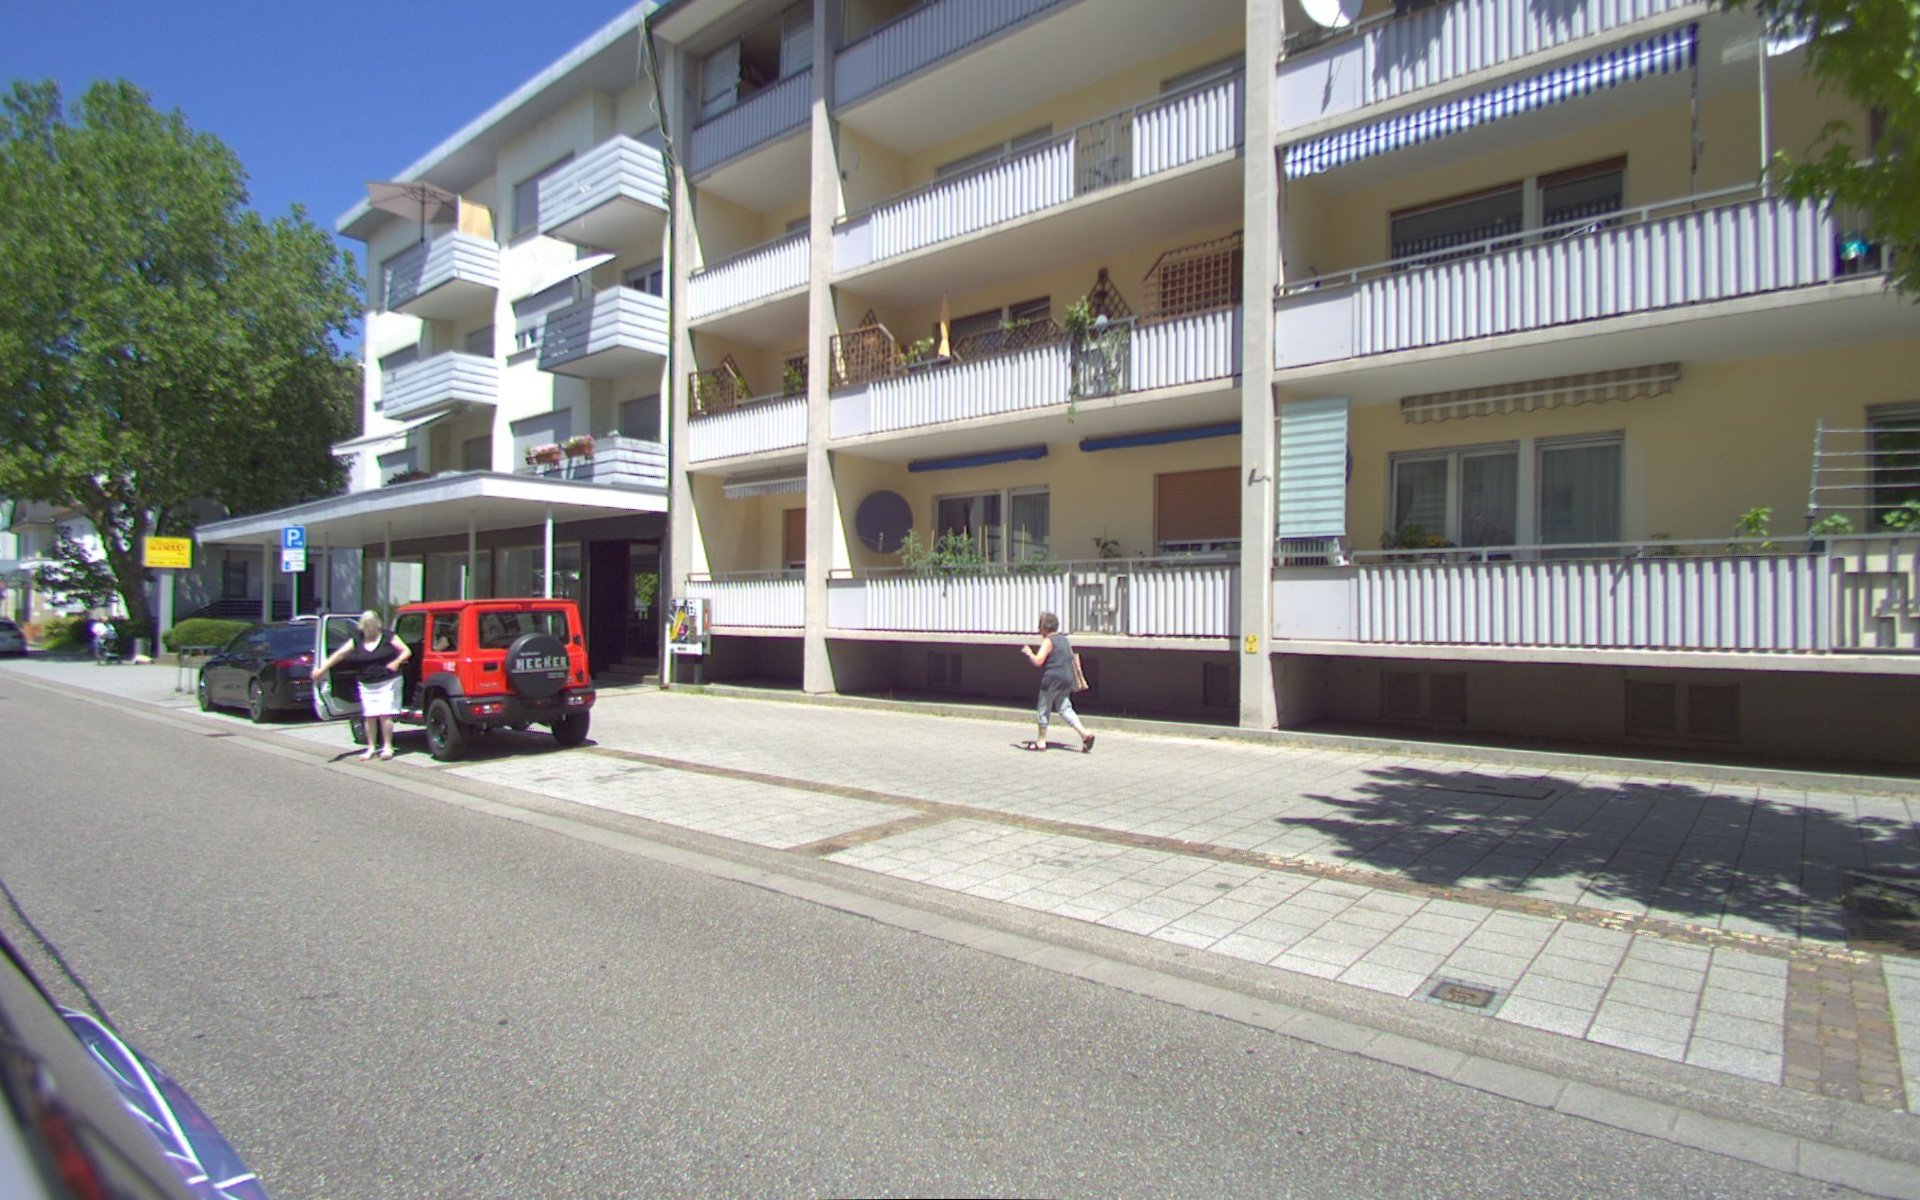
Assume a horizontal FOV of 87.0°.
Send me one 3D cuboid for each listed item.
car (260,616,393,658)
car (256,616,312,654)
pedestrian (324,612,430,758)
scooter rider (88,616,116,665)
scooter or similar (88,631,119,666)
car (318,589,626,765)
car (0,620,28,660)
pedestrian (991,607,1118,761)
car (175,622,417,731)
[{"bbox_3d":[-23.394,1.360,37.428,3.952,1.498,1.891,0,-2,10],"label":"car"},{"bbox_3d":[-29.117,1.480,43.550,1.782,1.557,4.115,2,-2,-37],"label":"car"},{"bbox_3d":[-6.347,0.906,11.055,0.717,1.546,0.729,0,-2,0],"label":"pedestrian"},{"bbox_3d":[-28.667,1.355,33.816,0.877,1.587,0.582,-2,0,42],"label":"scooter rider"},{"bbox_3d":[-28.366,1.588,33.519,1.028,1.106,0.656,-2,0,42],"label":"scooter or similar"},{"bbox_3d":[-5.844,0.778,11.912,4.098,1.715,1.735,-1,0,40],"label":"car"},{"bbox_3d":[-37.488,1.520,38.786,5.146,1.463,1.961,-1,-1,40],"label":"car"},{"bbox_3d":[0.993,0.843,10.650,1.096,1.504,0.690,-1,1,40],"label":"pedestrian"},{"bbox_3d":[-10.715,1.092,16.166,5.044,1.428,1.877,-1,0,40],"label":"car"}]
